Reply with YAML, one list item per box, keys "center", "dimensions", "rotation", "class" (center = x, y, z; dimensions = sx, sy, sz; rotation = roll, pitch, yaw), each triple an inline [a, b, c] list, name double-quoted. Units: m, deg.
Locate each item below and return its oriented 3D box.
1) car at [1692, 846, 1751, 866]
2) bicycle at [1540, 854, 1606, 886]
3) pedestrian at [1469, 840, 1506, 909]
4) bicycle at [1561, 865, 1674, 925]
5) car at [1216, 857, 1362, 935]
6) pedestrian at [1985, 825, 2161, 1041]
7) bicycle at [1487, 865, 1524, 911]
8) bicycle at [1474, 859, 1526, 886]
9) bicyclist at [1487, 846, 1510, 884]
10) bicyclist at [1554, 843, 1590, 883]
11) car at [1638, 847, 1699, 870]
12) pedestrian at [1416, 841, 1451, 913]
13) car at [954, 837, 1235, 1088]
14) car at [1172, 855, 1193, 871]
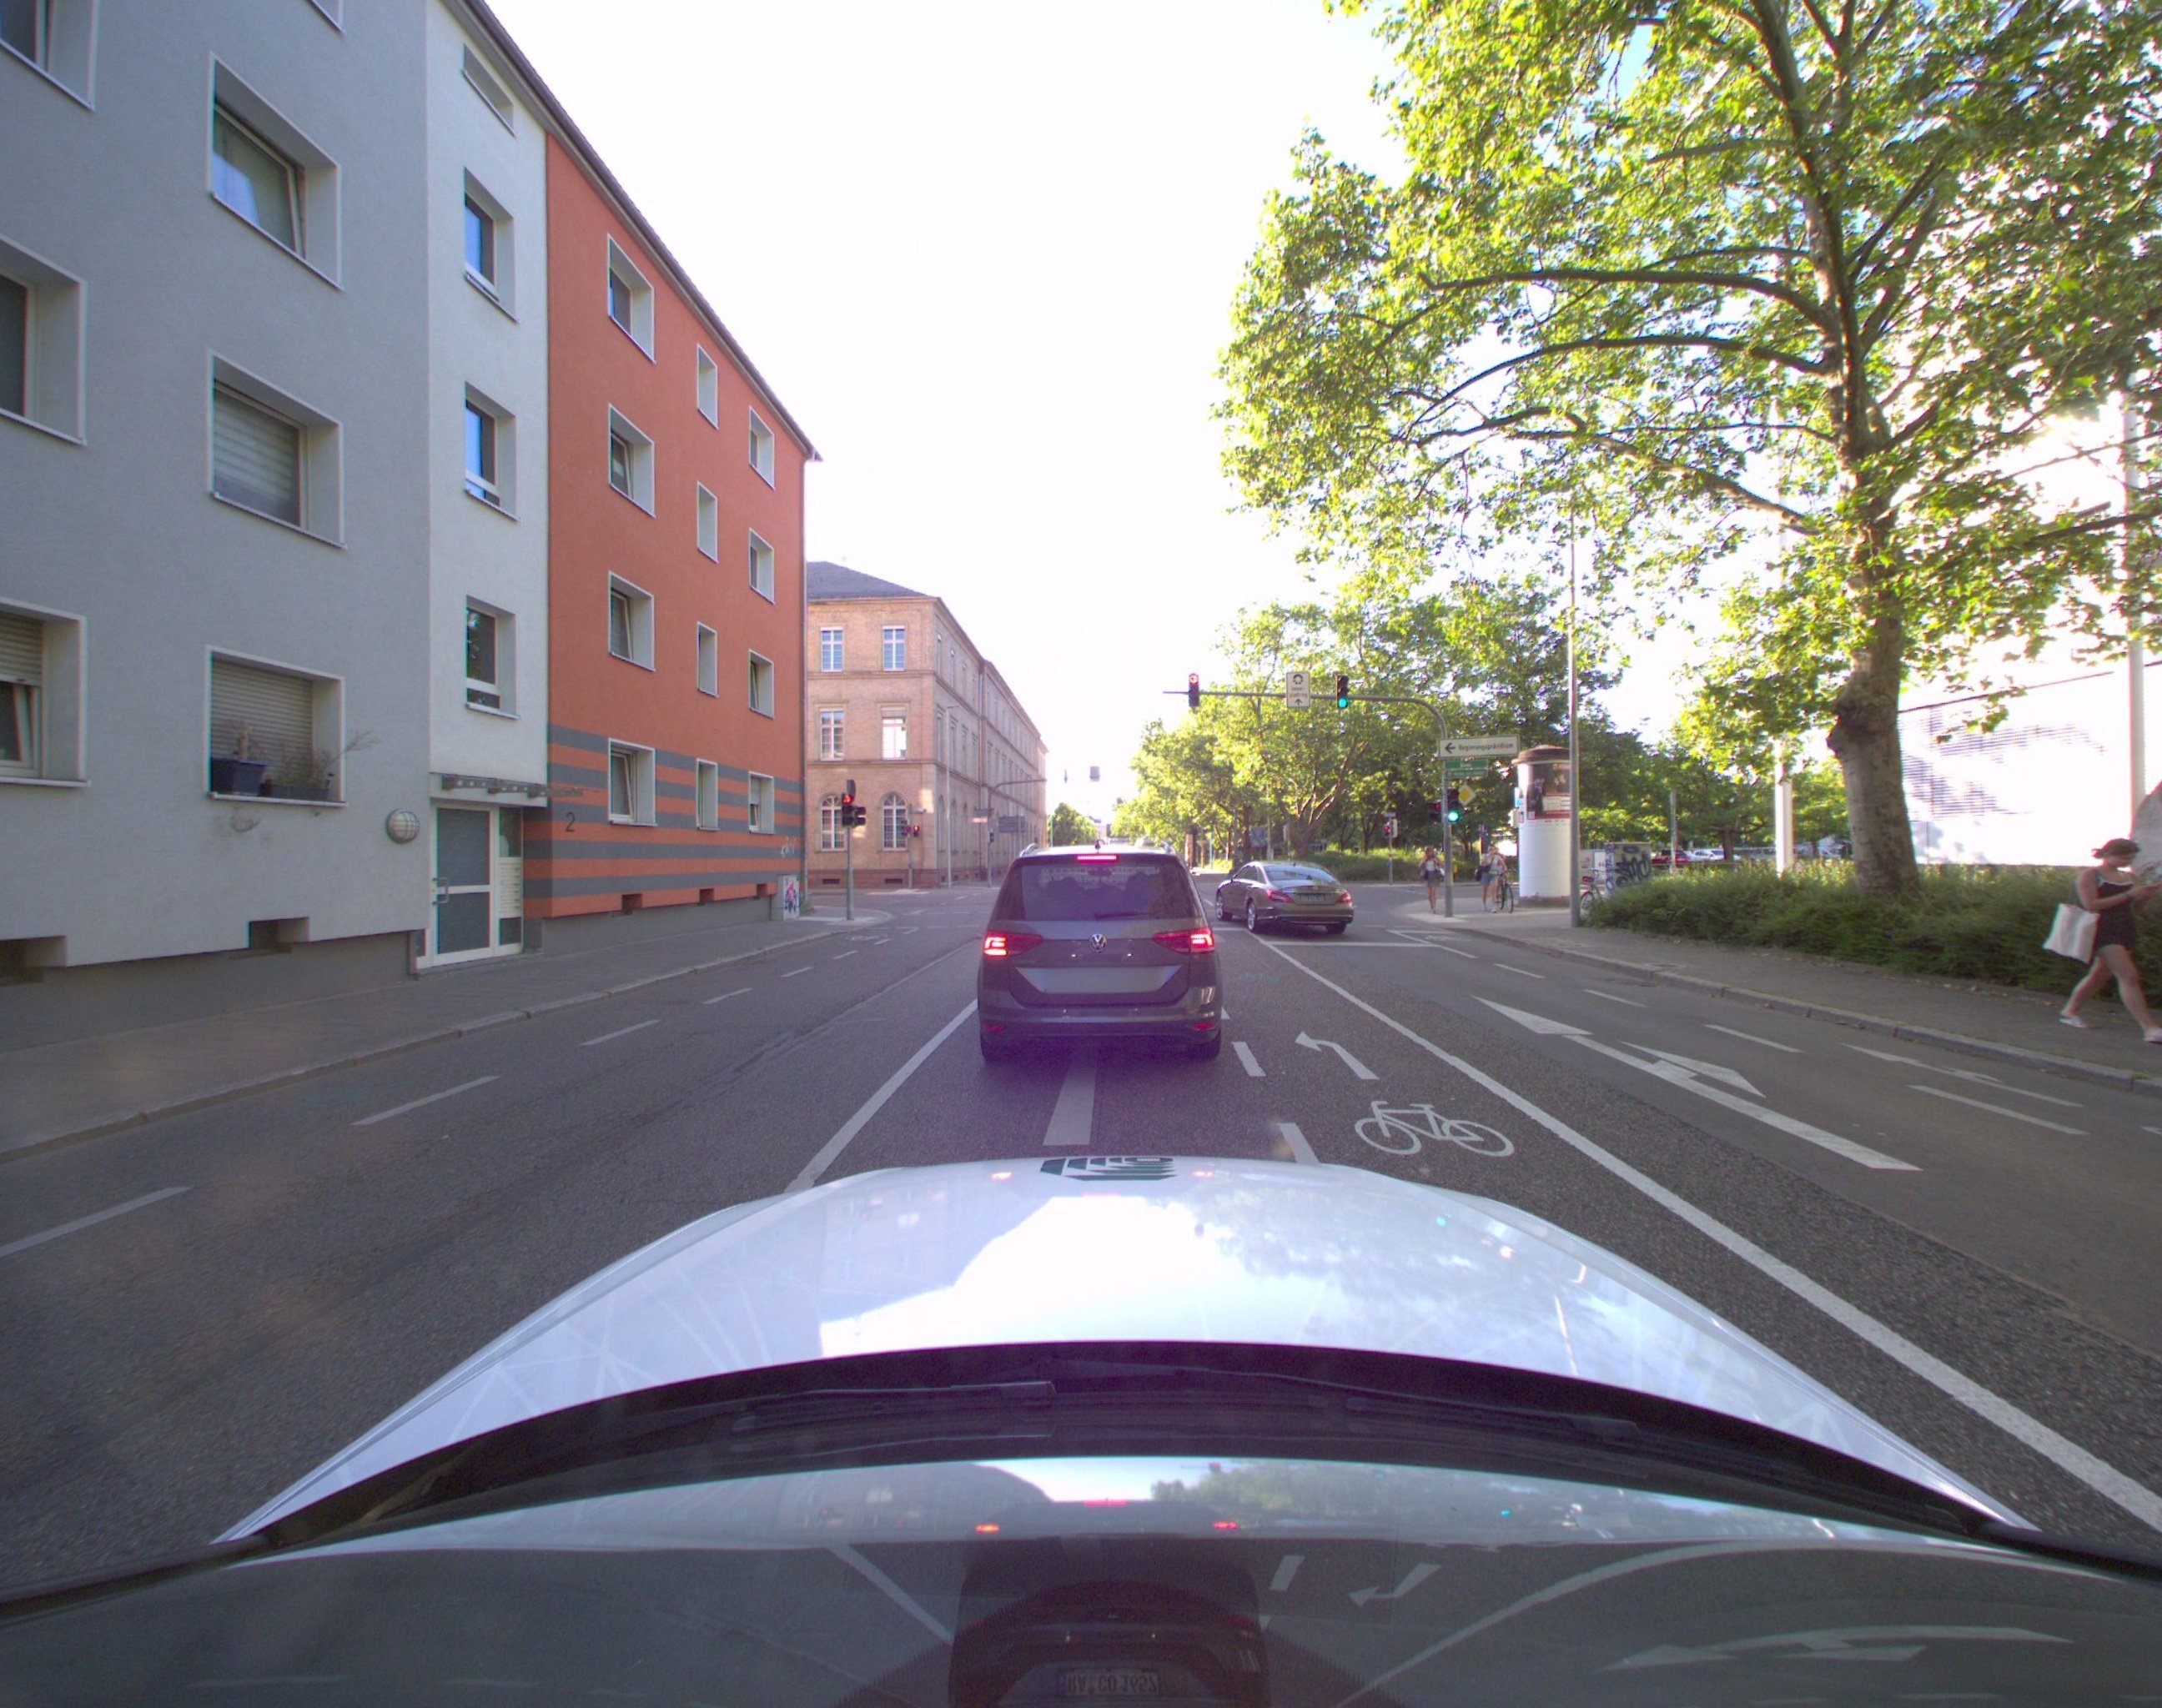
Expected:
- center: [48.412, 0.184, 61.603]
  dimensions: [1.566, 1.468, 3.797]
  rotation: [0, 0, 2]
  class: "car"
- center: [20.077, 0.648, 33.250]
  dimensions: [2.279, 1.326, 0.661]
  rotation: [0, -1, 3]
  class: "bicycle"
- center: [10.336, 0.512, 20.733]
  dimensions: [0.678, 1.697, 0.975]
  rotation: [0, -1, 17]
  class: "pedestrian"
- center: [11.010, 0.832, 16.735]
  dimensions: [1.968, 1.190, 0.528]
  rotation: [0, -1, 1]
  class: "bicycle"
- center: [4.193, 0.788, 17.228]
  dimensions: [1.838, 1.429, 4.514]
  rotation: [0, 0, -2]
  class: "car"
- center: [8.380, 0.605, 6.699]
  dimensions: [0.794, 1.630, 0.908]
  rotation: [-3, -1, 4]
  class: "pedestrian"
- center: [10.737, 0.839, 20.624]
  dimensions: [0.520, 1.100, 1.749]
  rotation: [0, -1, 17]
  class: "bicycle"
- center: [18.911, 0.830, 36.808]
  dimensions: [2.022, 1.220, 0.600]
  rotation: [0, -1, 2]
  class: "bicycle"
- center: [18.882, 0.477, 36.805]
  dimensions: [0.707, 1.697, 0.676]
  rotation: [0, -1, 3]
  class: "bicyclist"
- center: [20.052, 0.374, 33.279]
  dimensions: [0.959, 1.615, 0.871]
  rotation: [0, -1, 5]
  class: "bicyclist"
- center: [40.689, 0.311, 56.518]
  dimensions: [1.623, 1.482, 3.797]
  rotation: [0, 0, 2]
  class: "car"
- center: [9.103, 0.594, 21.084]
  dimensions: [0.726, 1.808, 0.913]
  rotation: [-2, -2, 20]
  class: "pedestrian"
- center: [0.237, 0.724, 7.292]
  dimensions: [1.801, 1.612, 4.005]
  rotation: [-1, -1, 4]
  class: "car"
- center: [9.824, 0.904, 79.076]
  dimensions: [1.682, 1.440, 3.905]
  rotation: [3, 0, 3]
  class: "car"
